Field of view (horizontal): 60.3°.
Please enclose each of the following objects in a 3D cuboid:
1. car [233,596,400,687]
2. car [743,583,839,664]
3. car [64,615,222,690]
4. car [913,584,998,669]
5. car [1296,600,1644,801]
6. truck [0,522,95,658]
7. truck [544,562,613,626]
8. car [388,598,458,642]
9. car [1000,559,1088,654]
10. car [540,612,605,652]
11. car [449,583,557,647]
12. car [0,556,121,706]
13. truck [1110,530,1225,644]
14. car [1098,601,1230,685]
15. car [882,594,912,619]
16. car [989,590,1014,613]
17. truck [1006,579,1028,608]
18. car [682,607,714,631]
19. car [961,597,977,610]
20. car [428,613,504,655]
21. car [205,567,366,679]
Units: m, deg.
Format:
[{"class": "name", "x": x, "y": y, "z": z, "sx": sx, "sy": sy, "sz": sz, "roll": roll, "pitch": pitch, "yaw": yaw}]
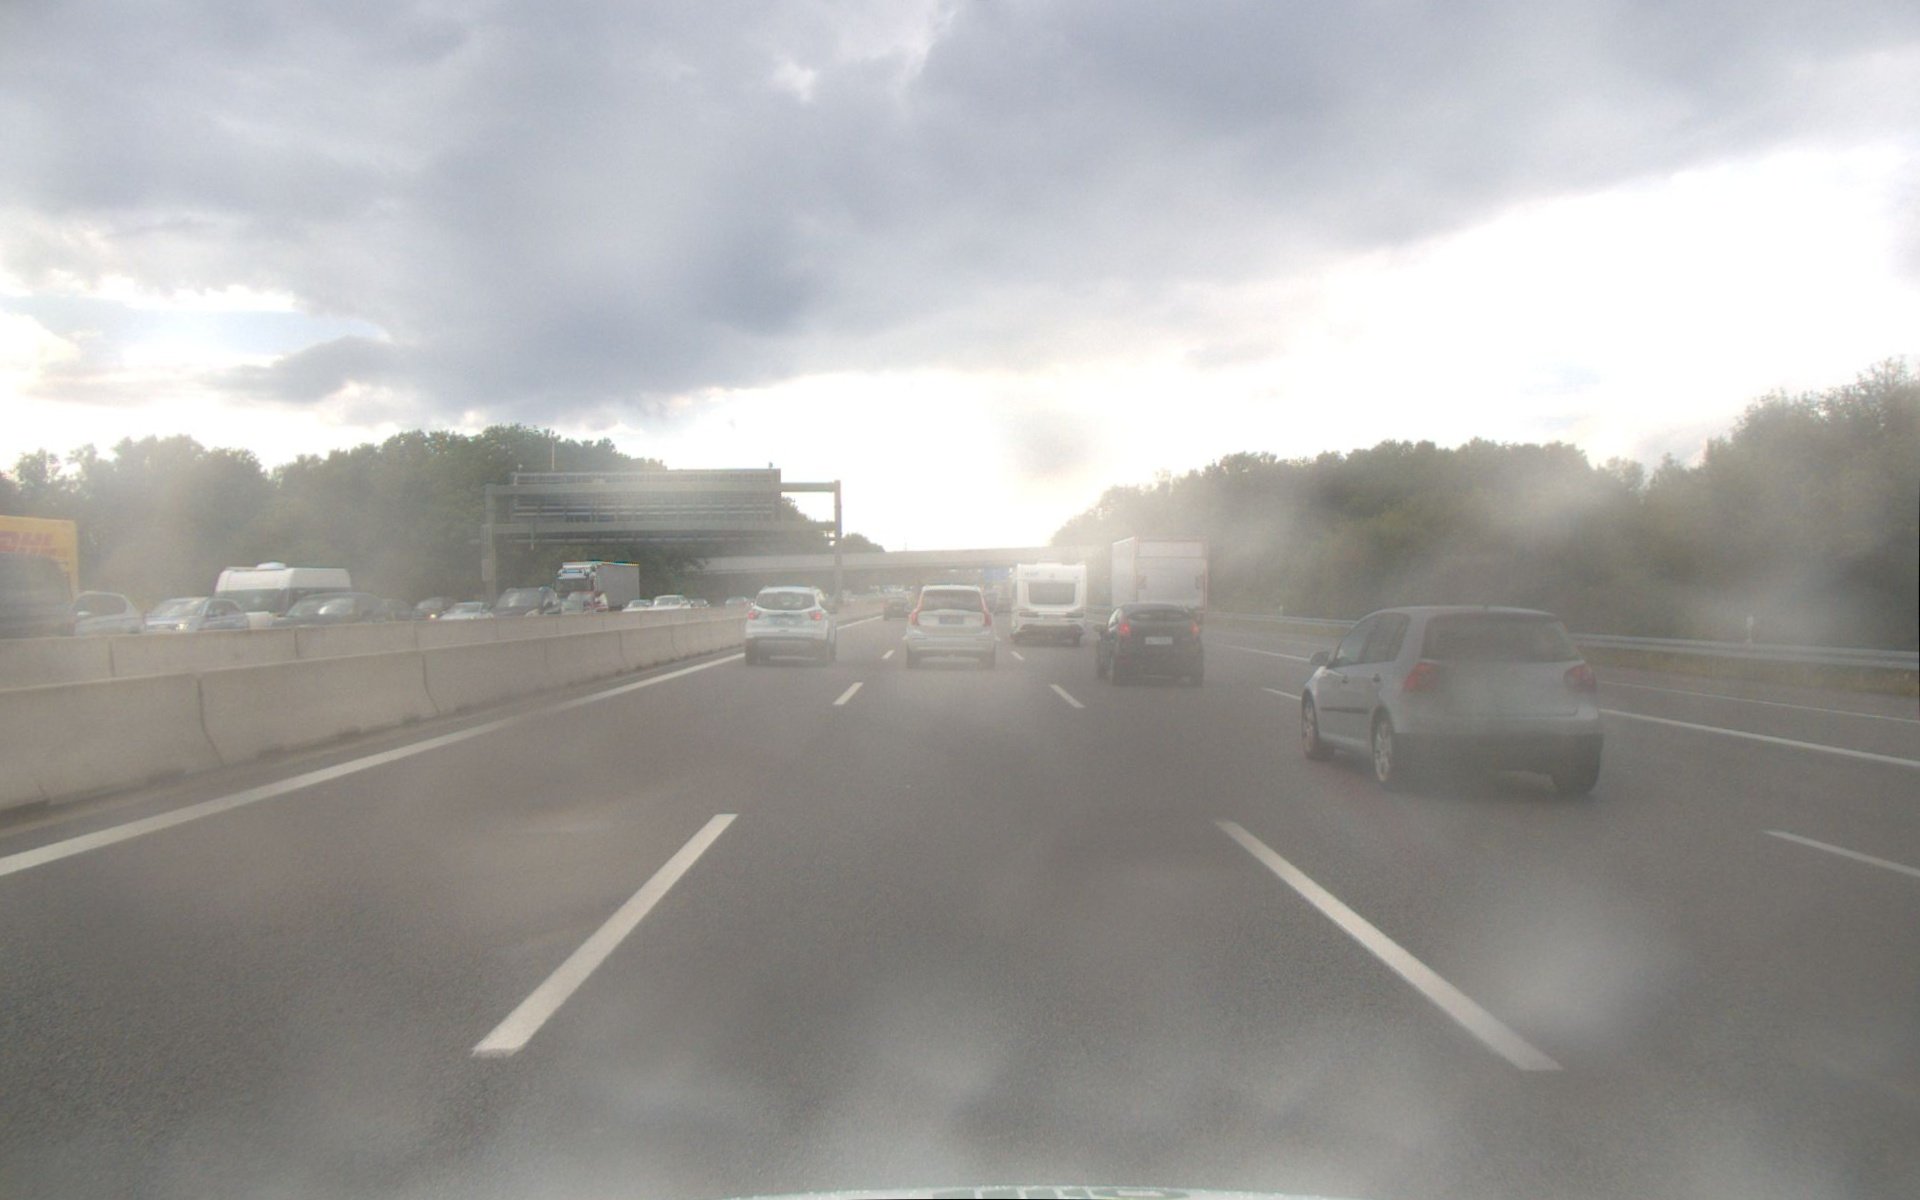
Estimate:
[{"class": "car", "x": -13.335, "y": 0.806, "z": 34.527, "sx": 1.953, "sy": 1.780, "sz": 3.999, "roll": 0, "pitch": 0, "yaw": -1}, {"class": "car", "x": -3.732, "y": 0.473, "z": 37.266, "sx": 1.778, "sy": 1.719, "sz": 4.851, "roll": 0, "pitch": 0, "yaw": -1}, {"class": "car", "x": -21.245, "y": 1.322, "z": 43.241, "sx": 1.835, "sy": 1.803, "sz": 4.710, "roll": 0, "pitch": 0, "yaw": -1}, {"class": "car", "x": -0.139, "y": 0.544, "z": 36.531, "sx": 1.745, "sy": 1.746, "sz": 4.351, "roll": 0, "pitch": 0, "yaw": -1}, {"class": "car", "x": 4.271, "y": 0.762, "z": 14.533, "sx": 1.759, "sy": 1.503, "sz": 4.037, "roll": 0, "pitch": 0, "yaw": -1}, {"class": "truck", "x": -27.279, "y": -0.286, "z": 44.611, "sx": 2.819, "sy": 3.676, "sz": 9.580, "roll": 0, "pitch": 0, "yaw": 0}, {"class": "truck", "x": -25.241, "y": -0.393, "z": 109.666, "sx": 3.155, "sy": 4.128, "sz": 6.231, "roll": 0, "pitch": 0, "yaw": 0}, {"class": "car", "x": -26.130, "y": 0.951, "z": 80.656, "sx": 1.953, "sy": 2.049, "sz": 4.542, "roll": 0, "pitch": 0, "yaw": 0}, {"class": "car", "x": 2.718, "y": 0.186, "z": 55.338, "sx": 2.514, "sy": 2.946, "sz": 7.533, "roll": 0, "pitch": 0, "yaw": 0}, {"class": "car", "x": -18.021, "y": 1.479, "z": 77.175, "sx": 1.953, "sy": 1.744, "sz": 4.698, "roll": 0, "pitch": 0, "yaw": -1}, {"class": "car", "x": -13.567, "y": 0.419, "z": 49.409, "sx": 1.953, "sy": 1.812, "sz": 4.672, "roll": 0, "pitch": 0, "yaw": -1}, {"class": "car", "x": -14.064, "y": 0.414, "z": 22.995, "sx": 1.953, "sy": 2.049, "sz": 5.756, "roll": 0, "pitch": 0, "yaw": -1}, {"class": "truck", "x": 7.357, "y": -0.454, "z": 59.908, "sx": 3.068, "sy": 3.774, "sz": 9.848, "roll": 0, "pitch": 0, "yaw": 1}, {"class": "car", "x": 3.715, "y": 0.742, "z": 30.815, "sx": 1.847, "sy": 1.431, "sz": 4.281, "roll": 0, "pitch": 0, "yaw": -1}, {"class": "car", "x": -3.957, "y": 0.394, "z": 104.104, "sx": 1.744, "sy": 1.507, "sz": 4.352, "roll": 0, "pitch": 0, "yaw": 0}, {"class": "car", "x": 3.373, "y": 0.128, "z": 134.988, "sx": 2.001, "sy": 1.855, "sz": 4.904, "roll": 0, "pitch": 0, "yaw": 0}, {"class": "truck", "x": 7.787, "y": -0.864, "z": 226.665, "sx": 2.846, "sy": 3.876, "sz": 7.274, "roll": 0, "pitch": 0, "yaw": 0}, {"class": "car", "x": -21.643, "y": 1.580, "z": 136.681, "sx": 1.953, "sy": 1.924, "sz": 4.362, "roll": 0, "pitch": 0, "yaw": 0}, {"class": "car", "x": 1.212, "y": 0.440, "z": 219.499, "sx": 1.843, "sy": 1.715, "sz": 3.998, "roll": 0, "pitch": 0, "yaw": -3}, {"class": "car", "x": -21.589, "y": 1.452, "z": 72.471, "sx": 1.953, "sy": 1.744, "sz": 4.698, "roll": 0, "pitch": 0, "yaw": -1}, {"class": "car", "x": -21.451, "y": 0.690, "z": 53.002, "sx": 2.606, "sy": 3.335, "sz": 6.560, "roll": 0, "pitch": 0, "yaw": -2}]
